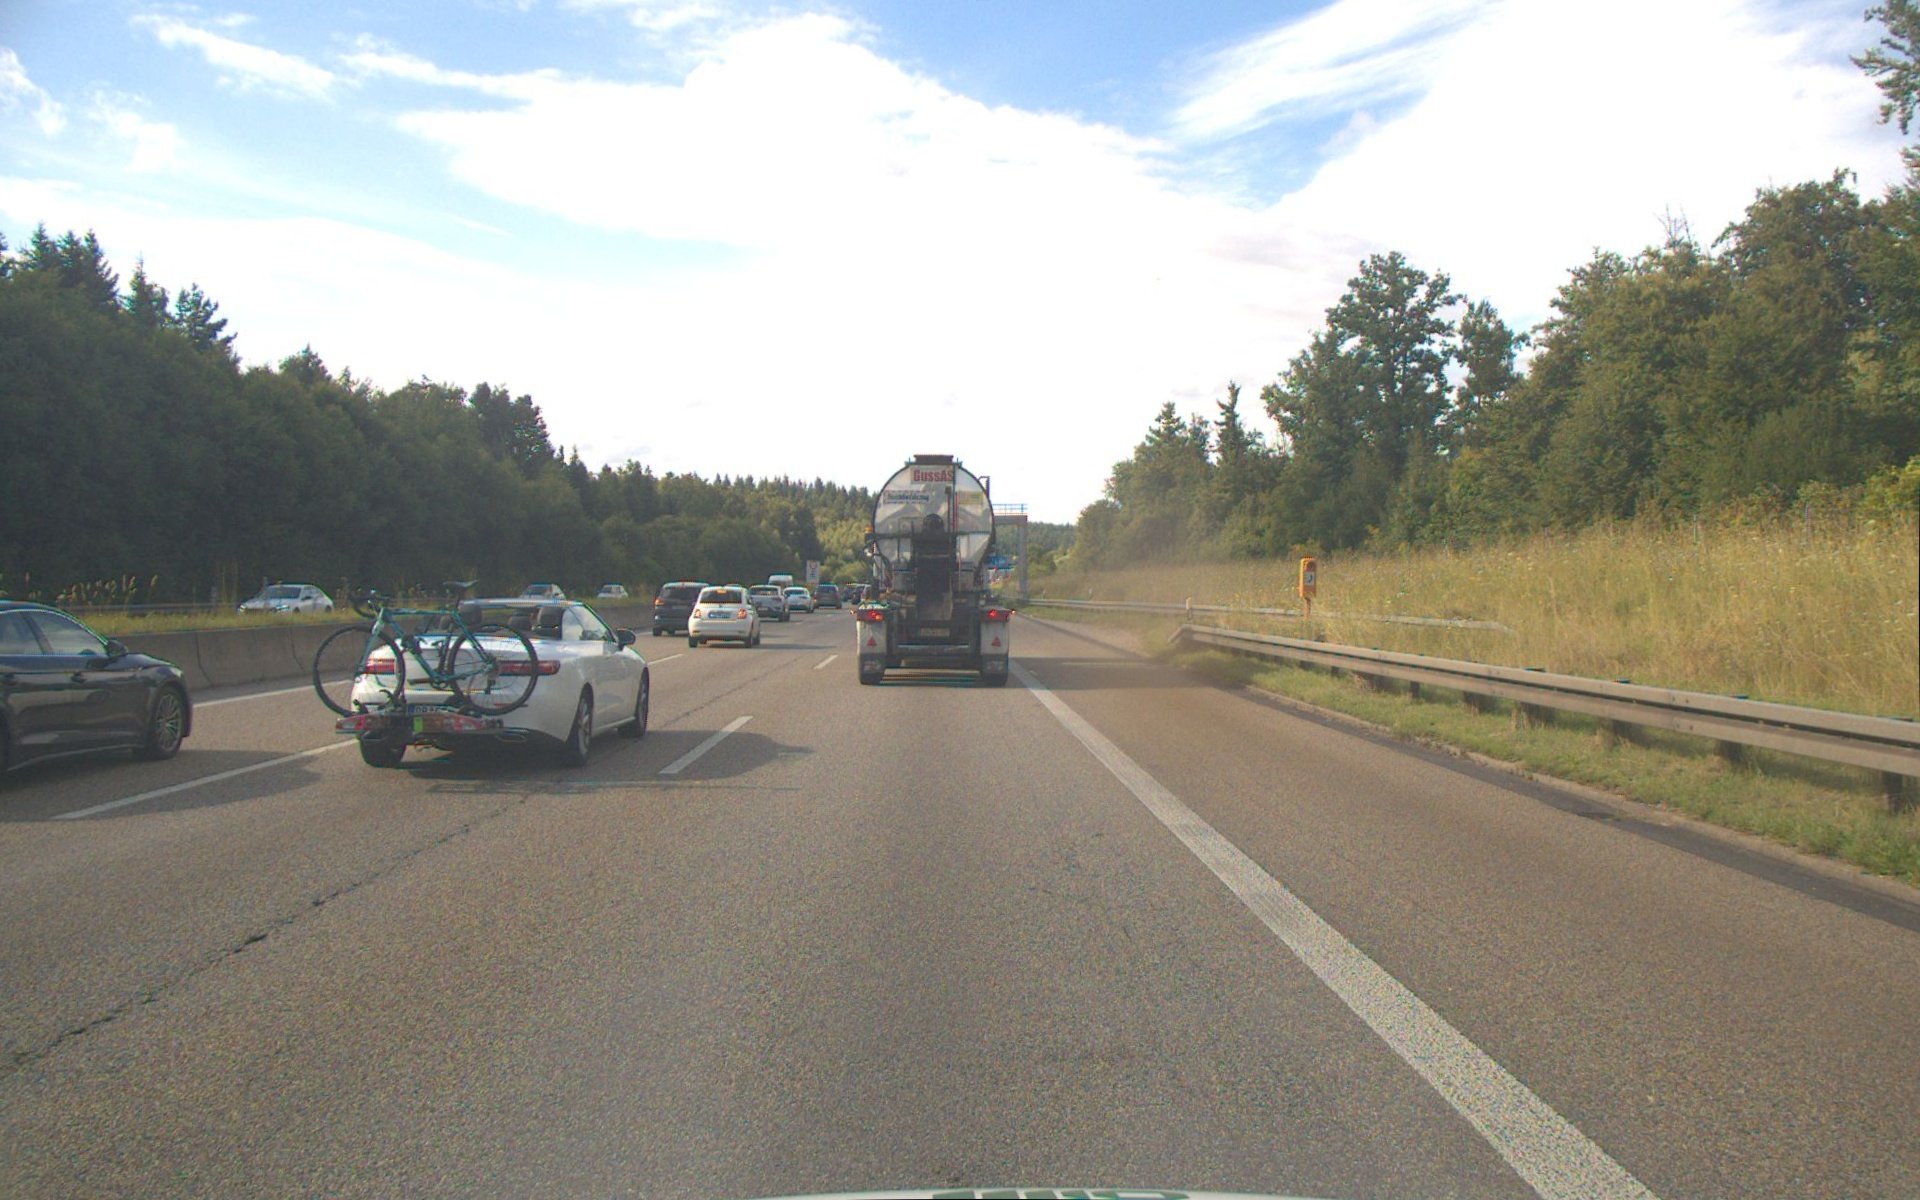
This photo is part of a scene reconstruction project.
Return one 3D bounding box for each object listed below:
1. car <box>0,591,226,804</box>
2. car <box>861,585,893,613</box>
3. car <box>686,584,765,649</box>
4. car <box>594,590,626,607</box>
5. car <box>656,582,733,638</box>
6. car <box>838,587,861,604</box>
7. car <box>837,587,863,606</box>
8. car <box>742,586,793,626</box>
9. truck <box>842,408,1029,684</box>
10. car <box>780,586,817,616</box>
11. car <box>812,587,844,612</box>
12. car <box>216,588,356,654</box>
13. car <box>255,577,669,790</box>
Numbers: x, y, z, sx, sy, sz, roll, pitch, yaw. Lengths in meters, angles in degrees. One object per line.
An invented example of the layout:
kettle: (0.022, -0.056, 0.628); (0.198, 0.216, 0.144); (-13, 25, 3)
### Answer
car: (-7.501, 0.662, 12.482); (1.818, 1.456, 4.840); (0, 0, -1)
car: (-5.323, -0.093, 106.109); (1.903, 1.683, 4.206); (1, 1, -1)
car: (-5.973, 0.403, 42.450); (1.585, 1.571, 3.519); (1, 0, -1)
car: (-23.973, -0.134, 113.240); (1.559, 1.113, 3.172); (0, 0, -1)
car: (-8.155, 0.283, 51.183); (1.770, 1.613, 4.206); (1, 1, -1)
car: (-10.307, -0.398, 154.749); (1.903, 1.482, 4.206); (1, 1, -1)
car: (-8.966, -0.319, 134.811); (1.903, 1.482, 4.206); (1, 1, -1)
car: (-8.309, 0.217, 71.586); (1.770, 1.613, 4.206); (1, 1, -1)
truck: (-0.436, -0.870, 31.073); (2.853, 4.230, 11.268); (0, 0, -1)
car: (-9.161, 0.029, 93.832); (1.770, 1.613, 4.206); (1, 1, -1)
car: (-8.992, -0.074, 112.869); (1.903, 1.613, 4.206); (1, 1, -1)
car: (-23.520, 0.669, 58.006); (2.526, 2.176, 5.965); (0, 0, -1)
car: (-4.075, 0.579, 14.740); (2.018, 1.525, 5.735); (0, 0, -1)
